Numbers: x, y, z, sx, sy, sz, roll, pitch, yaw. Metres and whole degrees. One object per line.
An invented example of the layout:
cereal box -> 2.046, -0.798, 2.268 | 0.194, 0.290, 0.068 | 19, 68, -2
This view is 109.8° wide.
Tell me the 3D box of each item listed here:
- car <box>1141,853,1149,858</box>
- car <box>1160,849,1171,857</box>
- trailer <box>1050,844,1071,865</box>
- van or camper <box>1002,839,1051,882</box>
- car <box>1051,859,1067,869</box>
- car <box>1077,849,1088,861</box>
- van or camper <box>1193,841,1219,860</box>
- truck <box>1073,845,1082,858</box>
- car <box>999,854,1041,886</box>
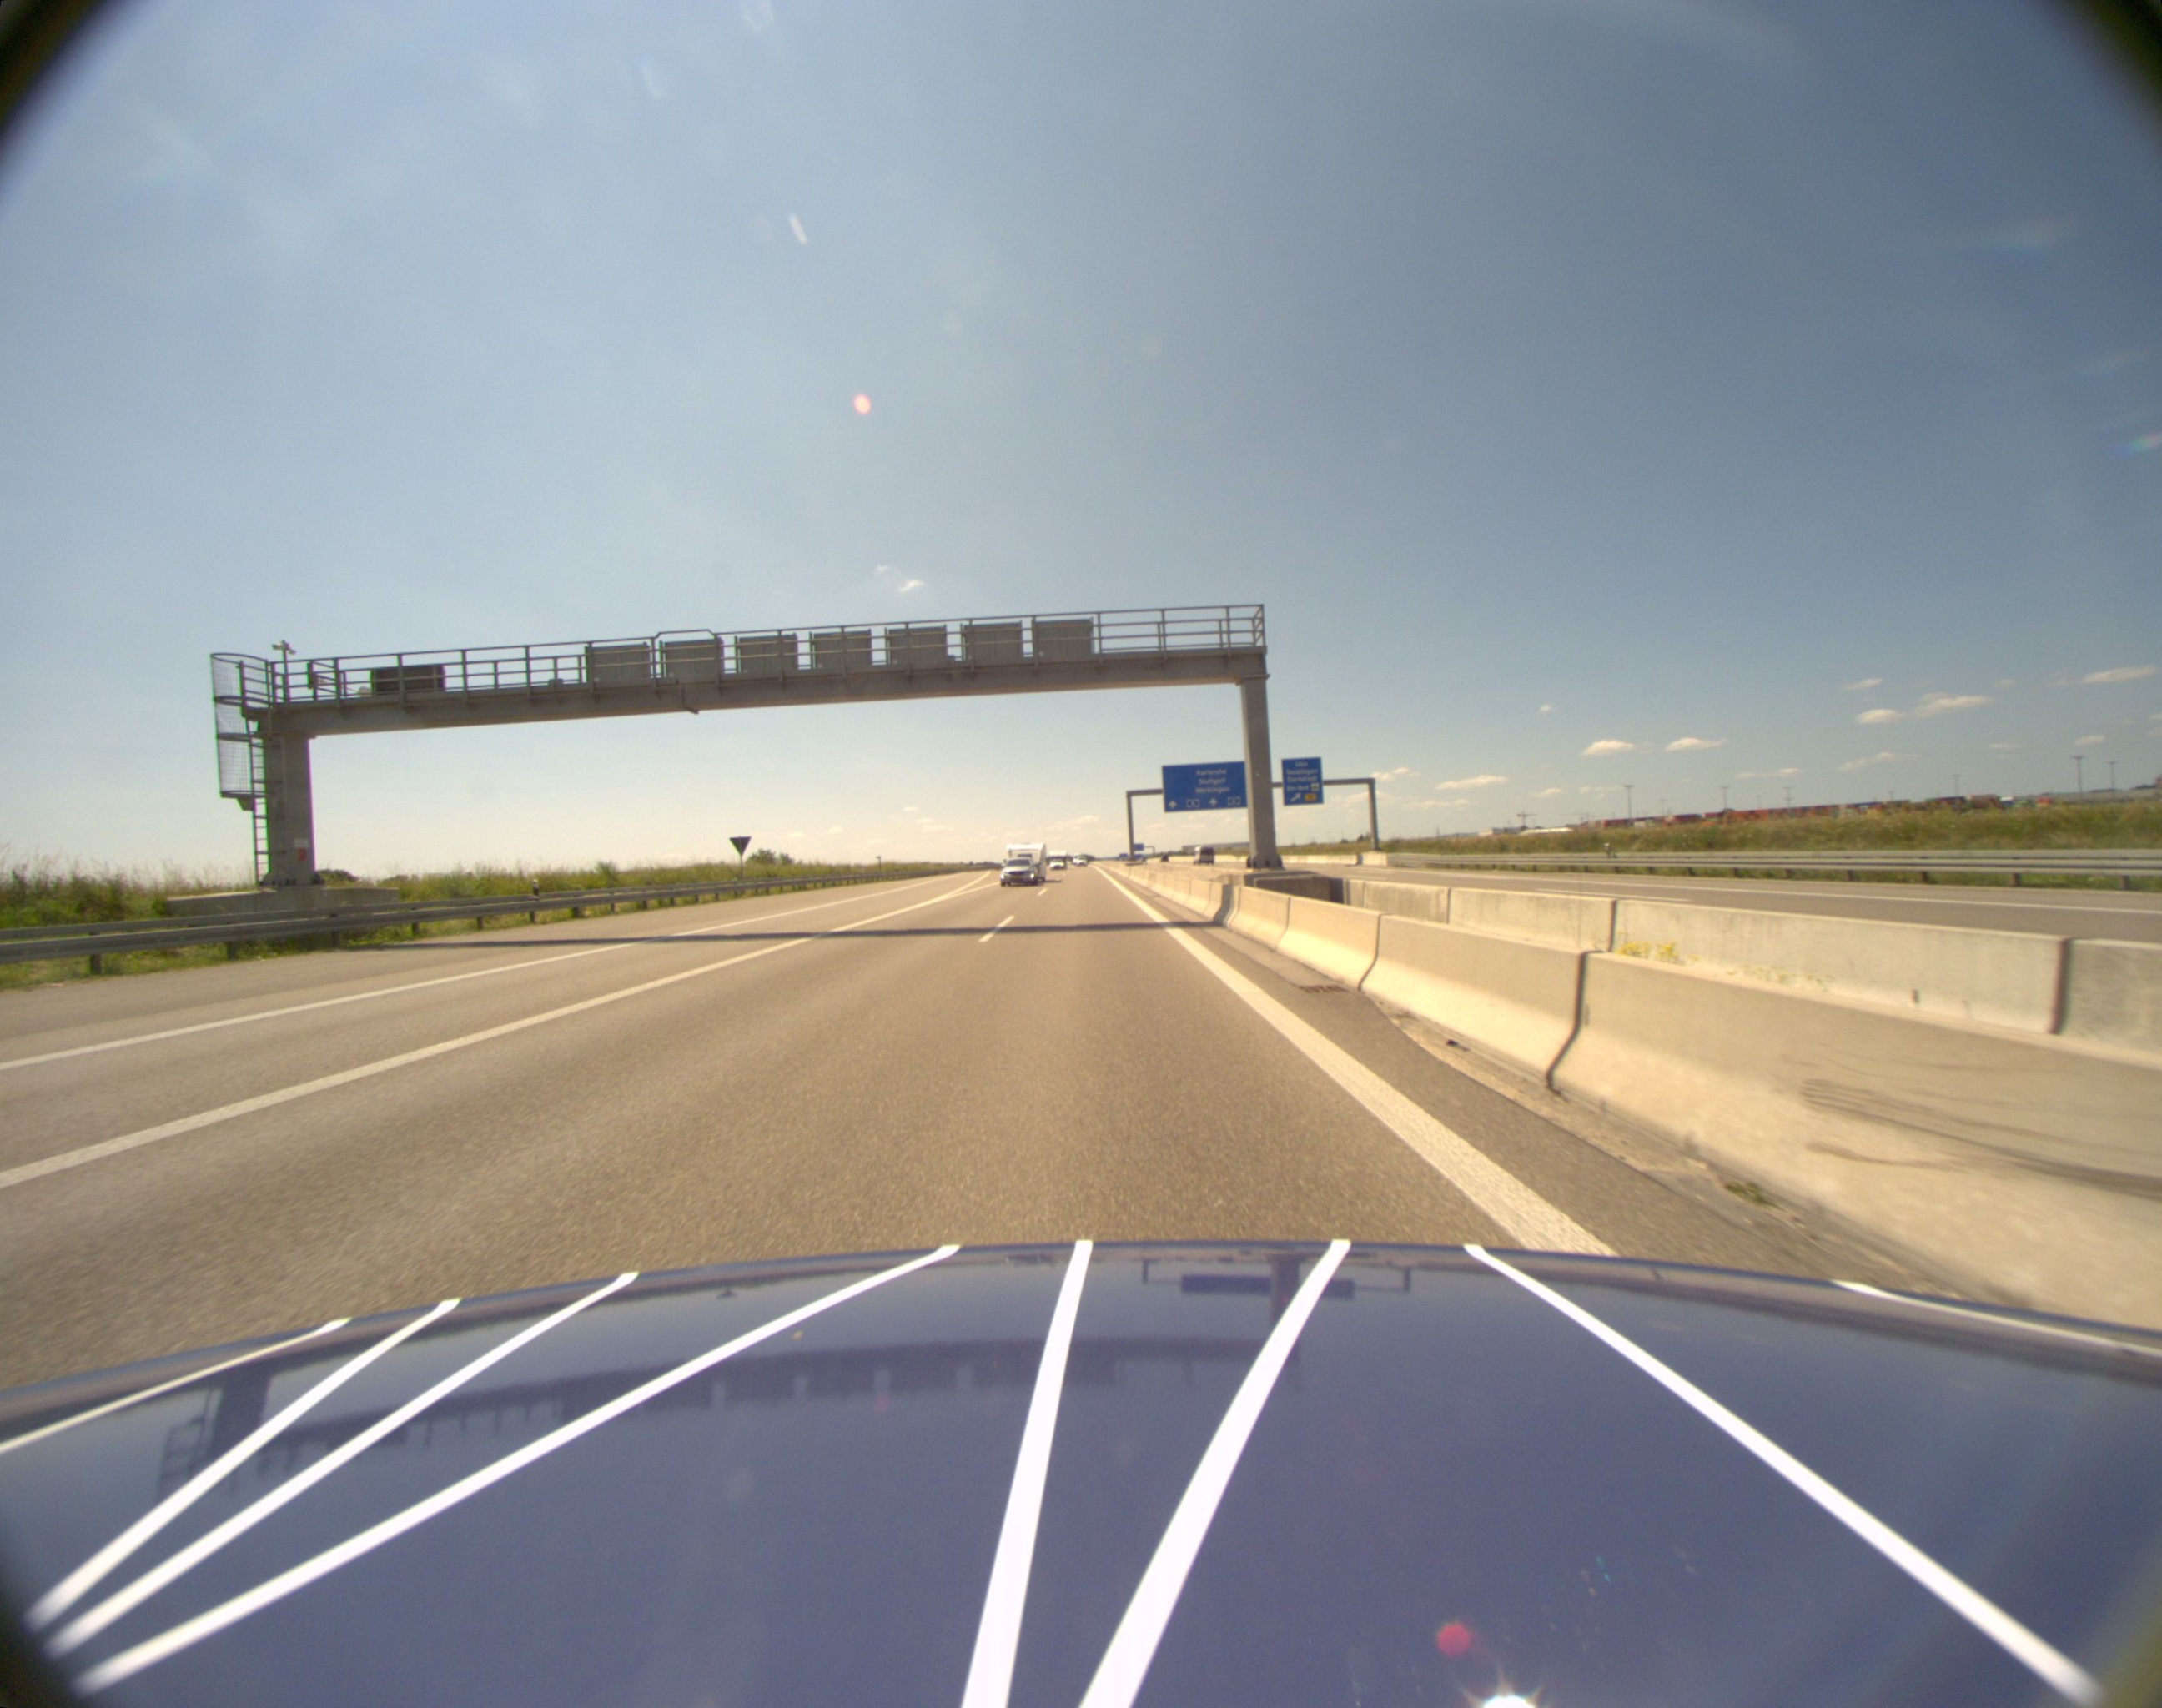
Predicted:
car -> 18.146, 0.379, 215.553 | 1.895, 1.321, 3.987 | -2, 0, 4
car -> 20.491, -0.213, 184.263 | 1.851, 1.813, 4.921 | -2, 0, 0
trailer -> -2.816, 0.151, 107.088 | 2.500, 2.686, 7.157 | -2, -1, 2
van or camper -> -3.454, 0.357, 50.218 | 2.518, 2.578, 7.816 | -2, 1, 1
car -> -2.927, 1.319, 101.665 | 1.872, 1.351, 3.674 | -1, -1, 2
car -> 0.286, 0.186, 142.599 | 1.998, 2.002, 4.000 | -2, 0, 0
van or camper -> 16.898, -0.476, 102.999 | 2.325, 2.543, 6.315 | -2, 0, 0
truck -> -0.789, -0.559, 178.234 | 2.168, 2.797, 6.489 | -2, 0, 0
car -> -3.451, 0.858, 43.899 | 1.885, 1.613, 4.903 | -2, 1, 1
